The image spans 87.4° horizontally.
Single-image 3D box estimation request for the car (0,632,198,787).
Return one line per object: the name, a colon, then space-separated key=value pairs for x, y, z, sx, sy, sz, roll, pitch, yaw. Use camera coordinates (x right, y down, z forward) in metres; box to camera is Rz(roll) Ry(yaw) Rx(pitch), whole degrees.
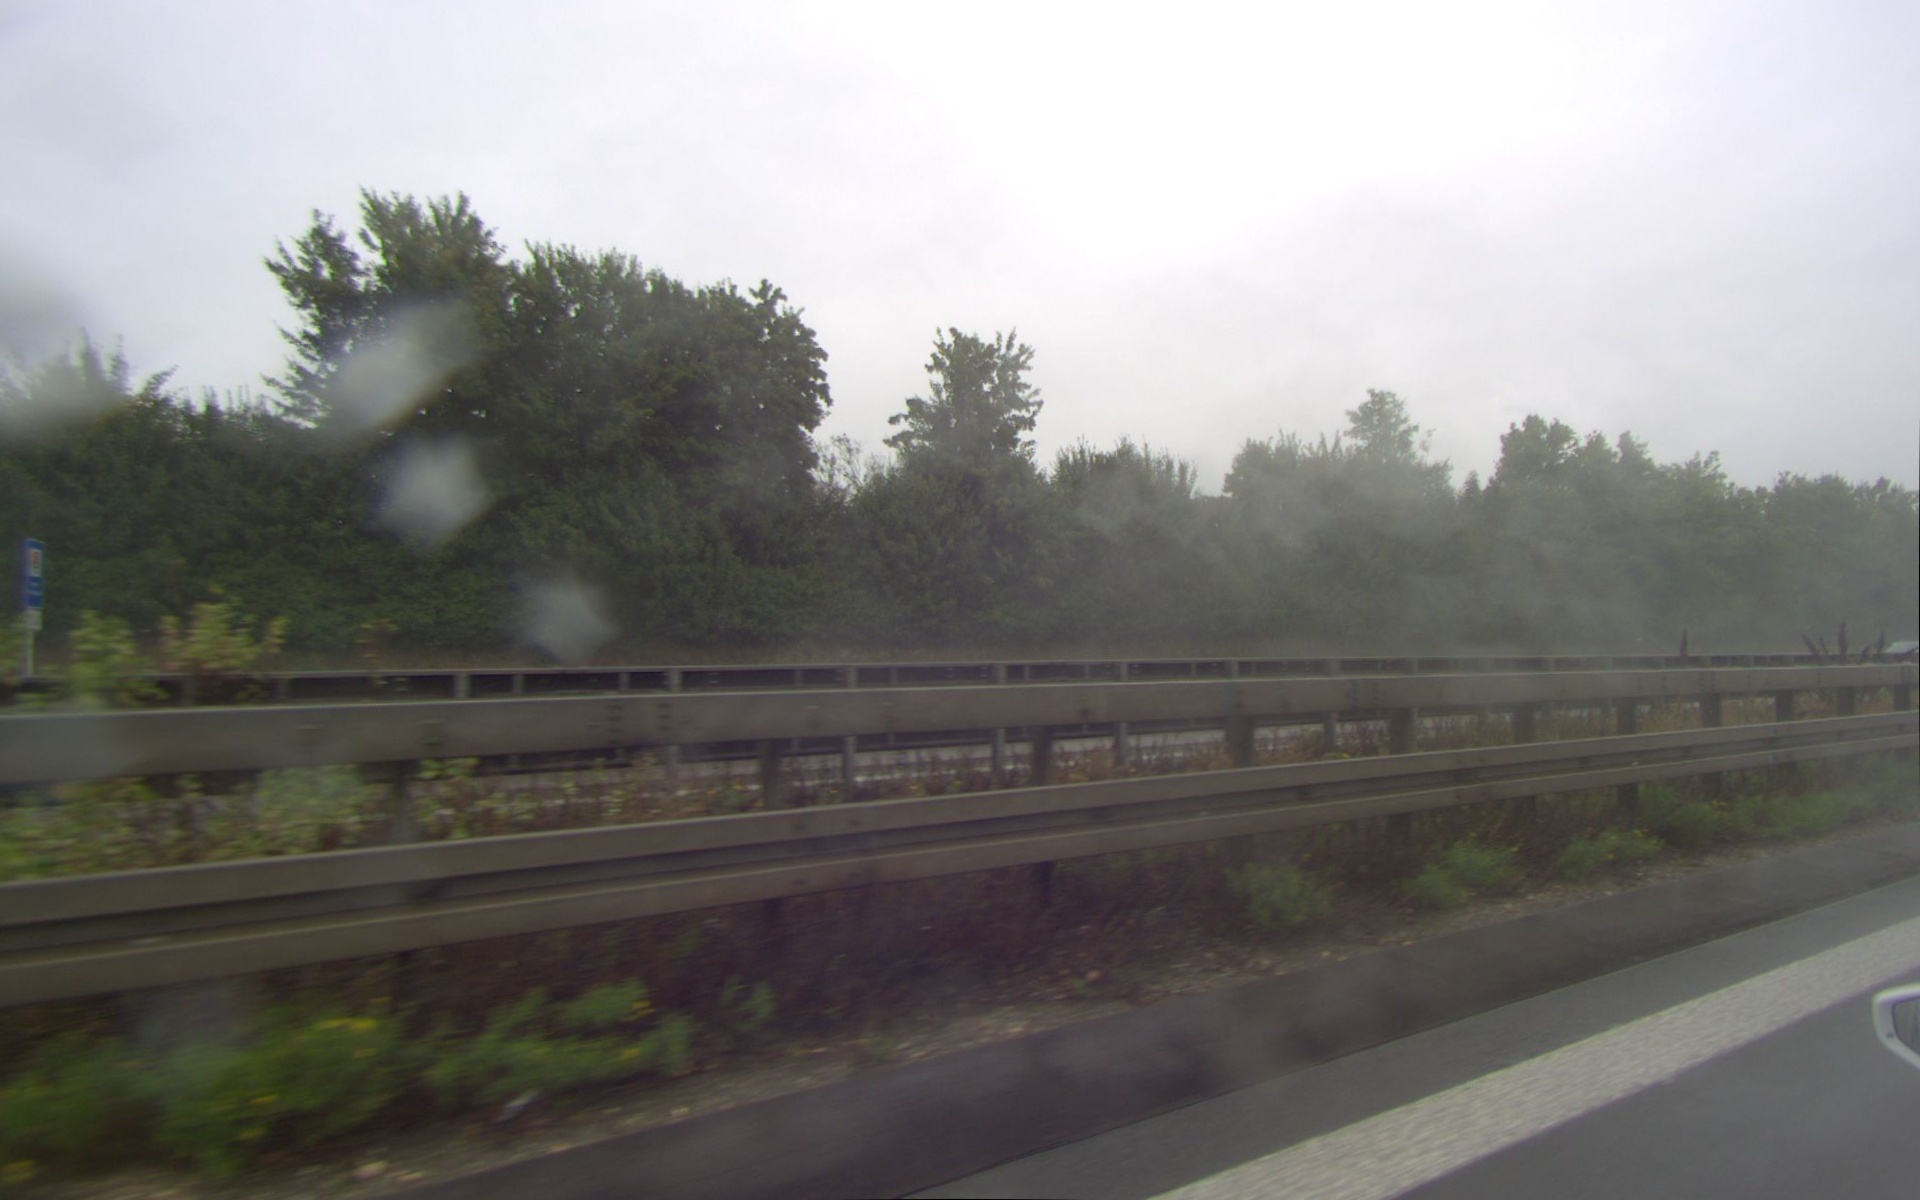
car: x=-10.471 y=1.129 z=10.601 sx=3.699 sy=1.514 sz=1.575 roll=1 pitch=0 yaw=-31
